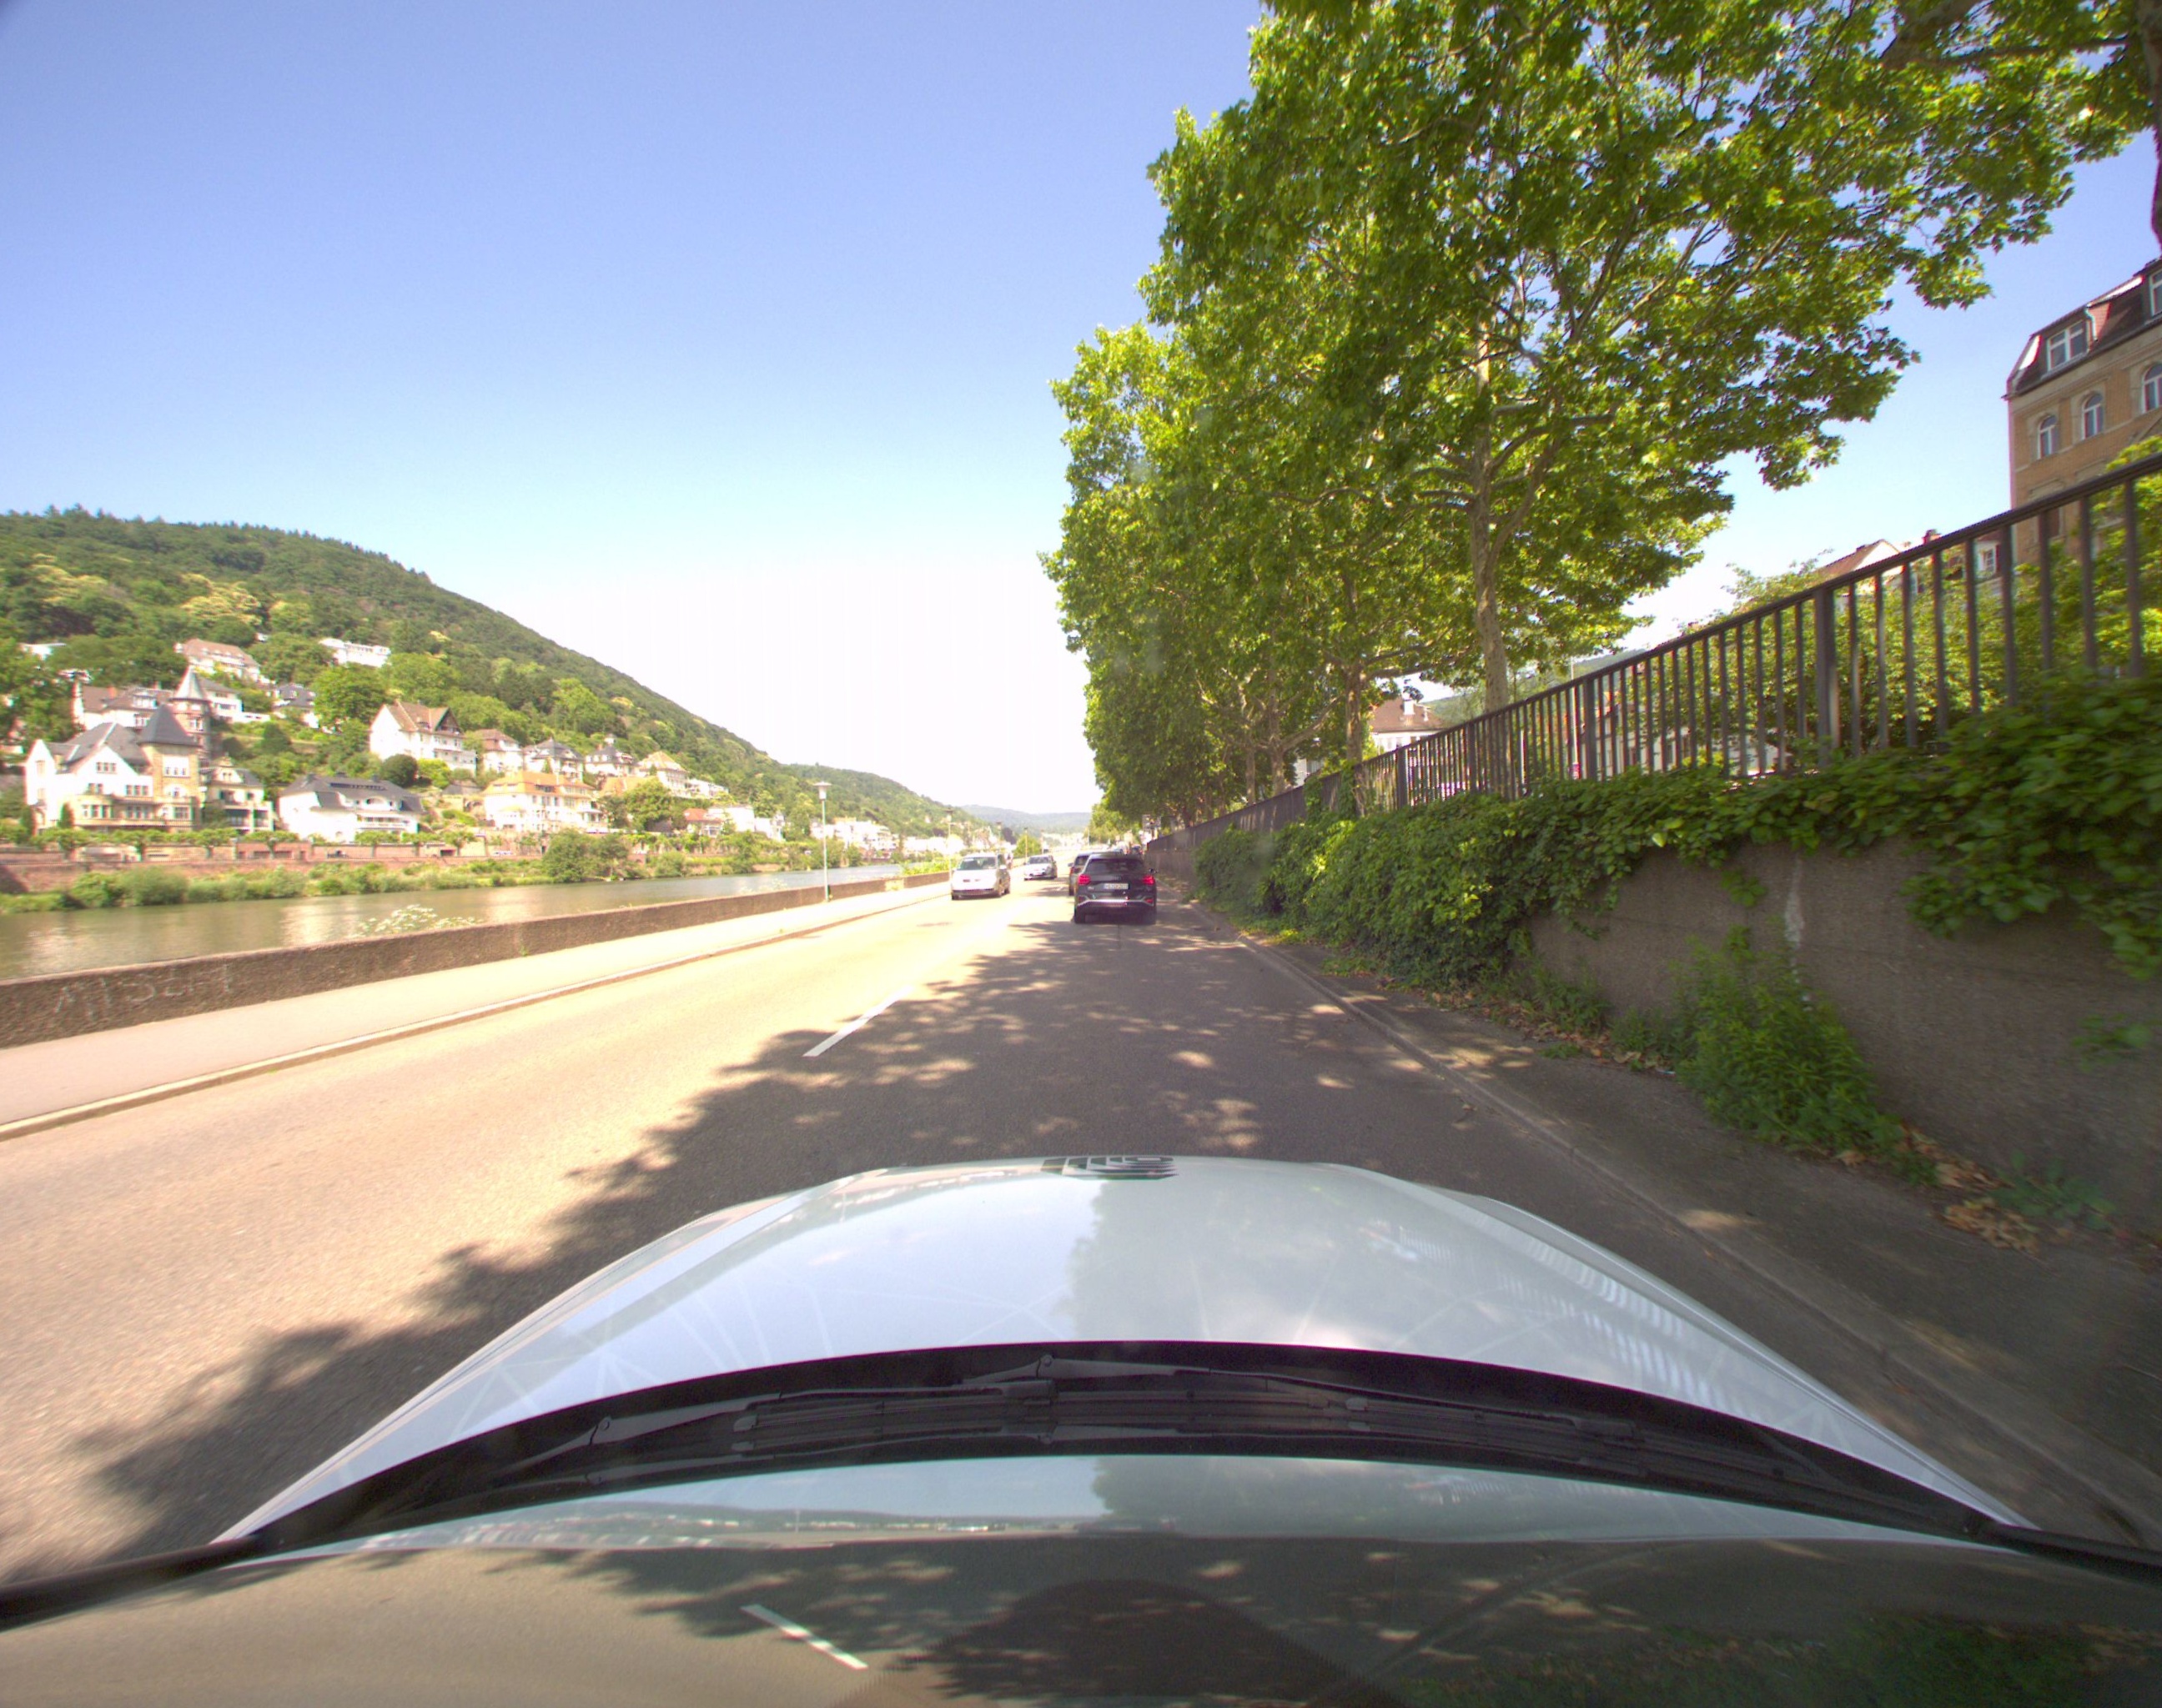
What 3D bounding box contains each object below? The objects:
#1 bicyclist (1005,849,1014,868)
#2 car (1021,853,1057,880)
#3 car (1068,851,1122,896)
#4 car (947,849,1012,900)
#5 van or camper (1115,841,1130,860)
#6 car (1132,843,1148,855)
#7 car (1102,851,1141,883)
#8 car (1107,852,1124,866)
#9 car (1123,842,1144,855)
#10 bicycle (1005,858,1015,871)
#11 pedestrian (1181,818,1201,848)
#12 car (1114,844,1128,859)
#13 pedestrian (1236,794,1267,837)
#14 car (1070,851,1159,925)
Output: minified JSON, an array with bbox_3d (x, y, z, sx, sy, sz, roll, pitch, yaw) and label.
[{"bbox_3d":[-6.099,0.382,69.586,0.635,1.673,0.871,-2,0,1],"label":"bicyclist"},{"bbox_3d":[-2.457,0.710,48.660,1.725,1.442,4.047,-3,0,1],"label":"car"},{"bbox_3d":[0.530,0.657,29.882,1.822,1.511,4.001,-1,0,1],"label":"car"},{"bbox_3d":[-3.689,0.700,30.259,1.725,1.650,4.178,-3,0,1],"label":"car"},{"bbox_3d":[6.617,-0.580,128.790,2.300,2.847,4.250,-2,0,3],"label":"van or camper"},{"bbox_3d":[10.904,-0.927,151.061,2.652,2.013,5.826,-4,0,1],"label":"car"},{"bbox_3d":[1.964,0.613,40.333,1.822,1.486,4.001,-1,0,1],"label":"car"},{"bbox_3d":[3.686,0.485,87.398,1.822,1.444,4.001,-1,0,1],"label":"car"},{"bbox_3d":[9.004,-0.940,140.233,3.087,2.013,5.826,-4,0,1],"label":"car"},{"bbox_3d":[-6.089,0.904,69.670,0.630,1.012,1.986,-2,0,1],"label":"bicycle"},{"bbox_3d":[6.303,-1.195,46.667,0.933,1.579,1.028,-4,0,0],"label":"pedestrian"},{"bbox_3d":[5.858,-0.402,119.093,1.986,2.169,4.001,-1,0,1],"label":"car"},{"bbox_3d":[5.710,-1.281,27.329,0.751,1.365,0.814,-4,0,0],"label":"pedestrian"},{"bbox_3d":[0.741,0.697,18.827,1.822,1.486,4.001,-1,0,1],"label":"car"}]
